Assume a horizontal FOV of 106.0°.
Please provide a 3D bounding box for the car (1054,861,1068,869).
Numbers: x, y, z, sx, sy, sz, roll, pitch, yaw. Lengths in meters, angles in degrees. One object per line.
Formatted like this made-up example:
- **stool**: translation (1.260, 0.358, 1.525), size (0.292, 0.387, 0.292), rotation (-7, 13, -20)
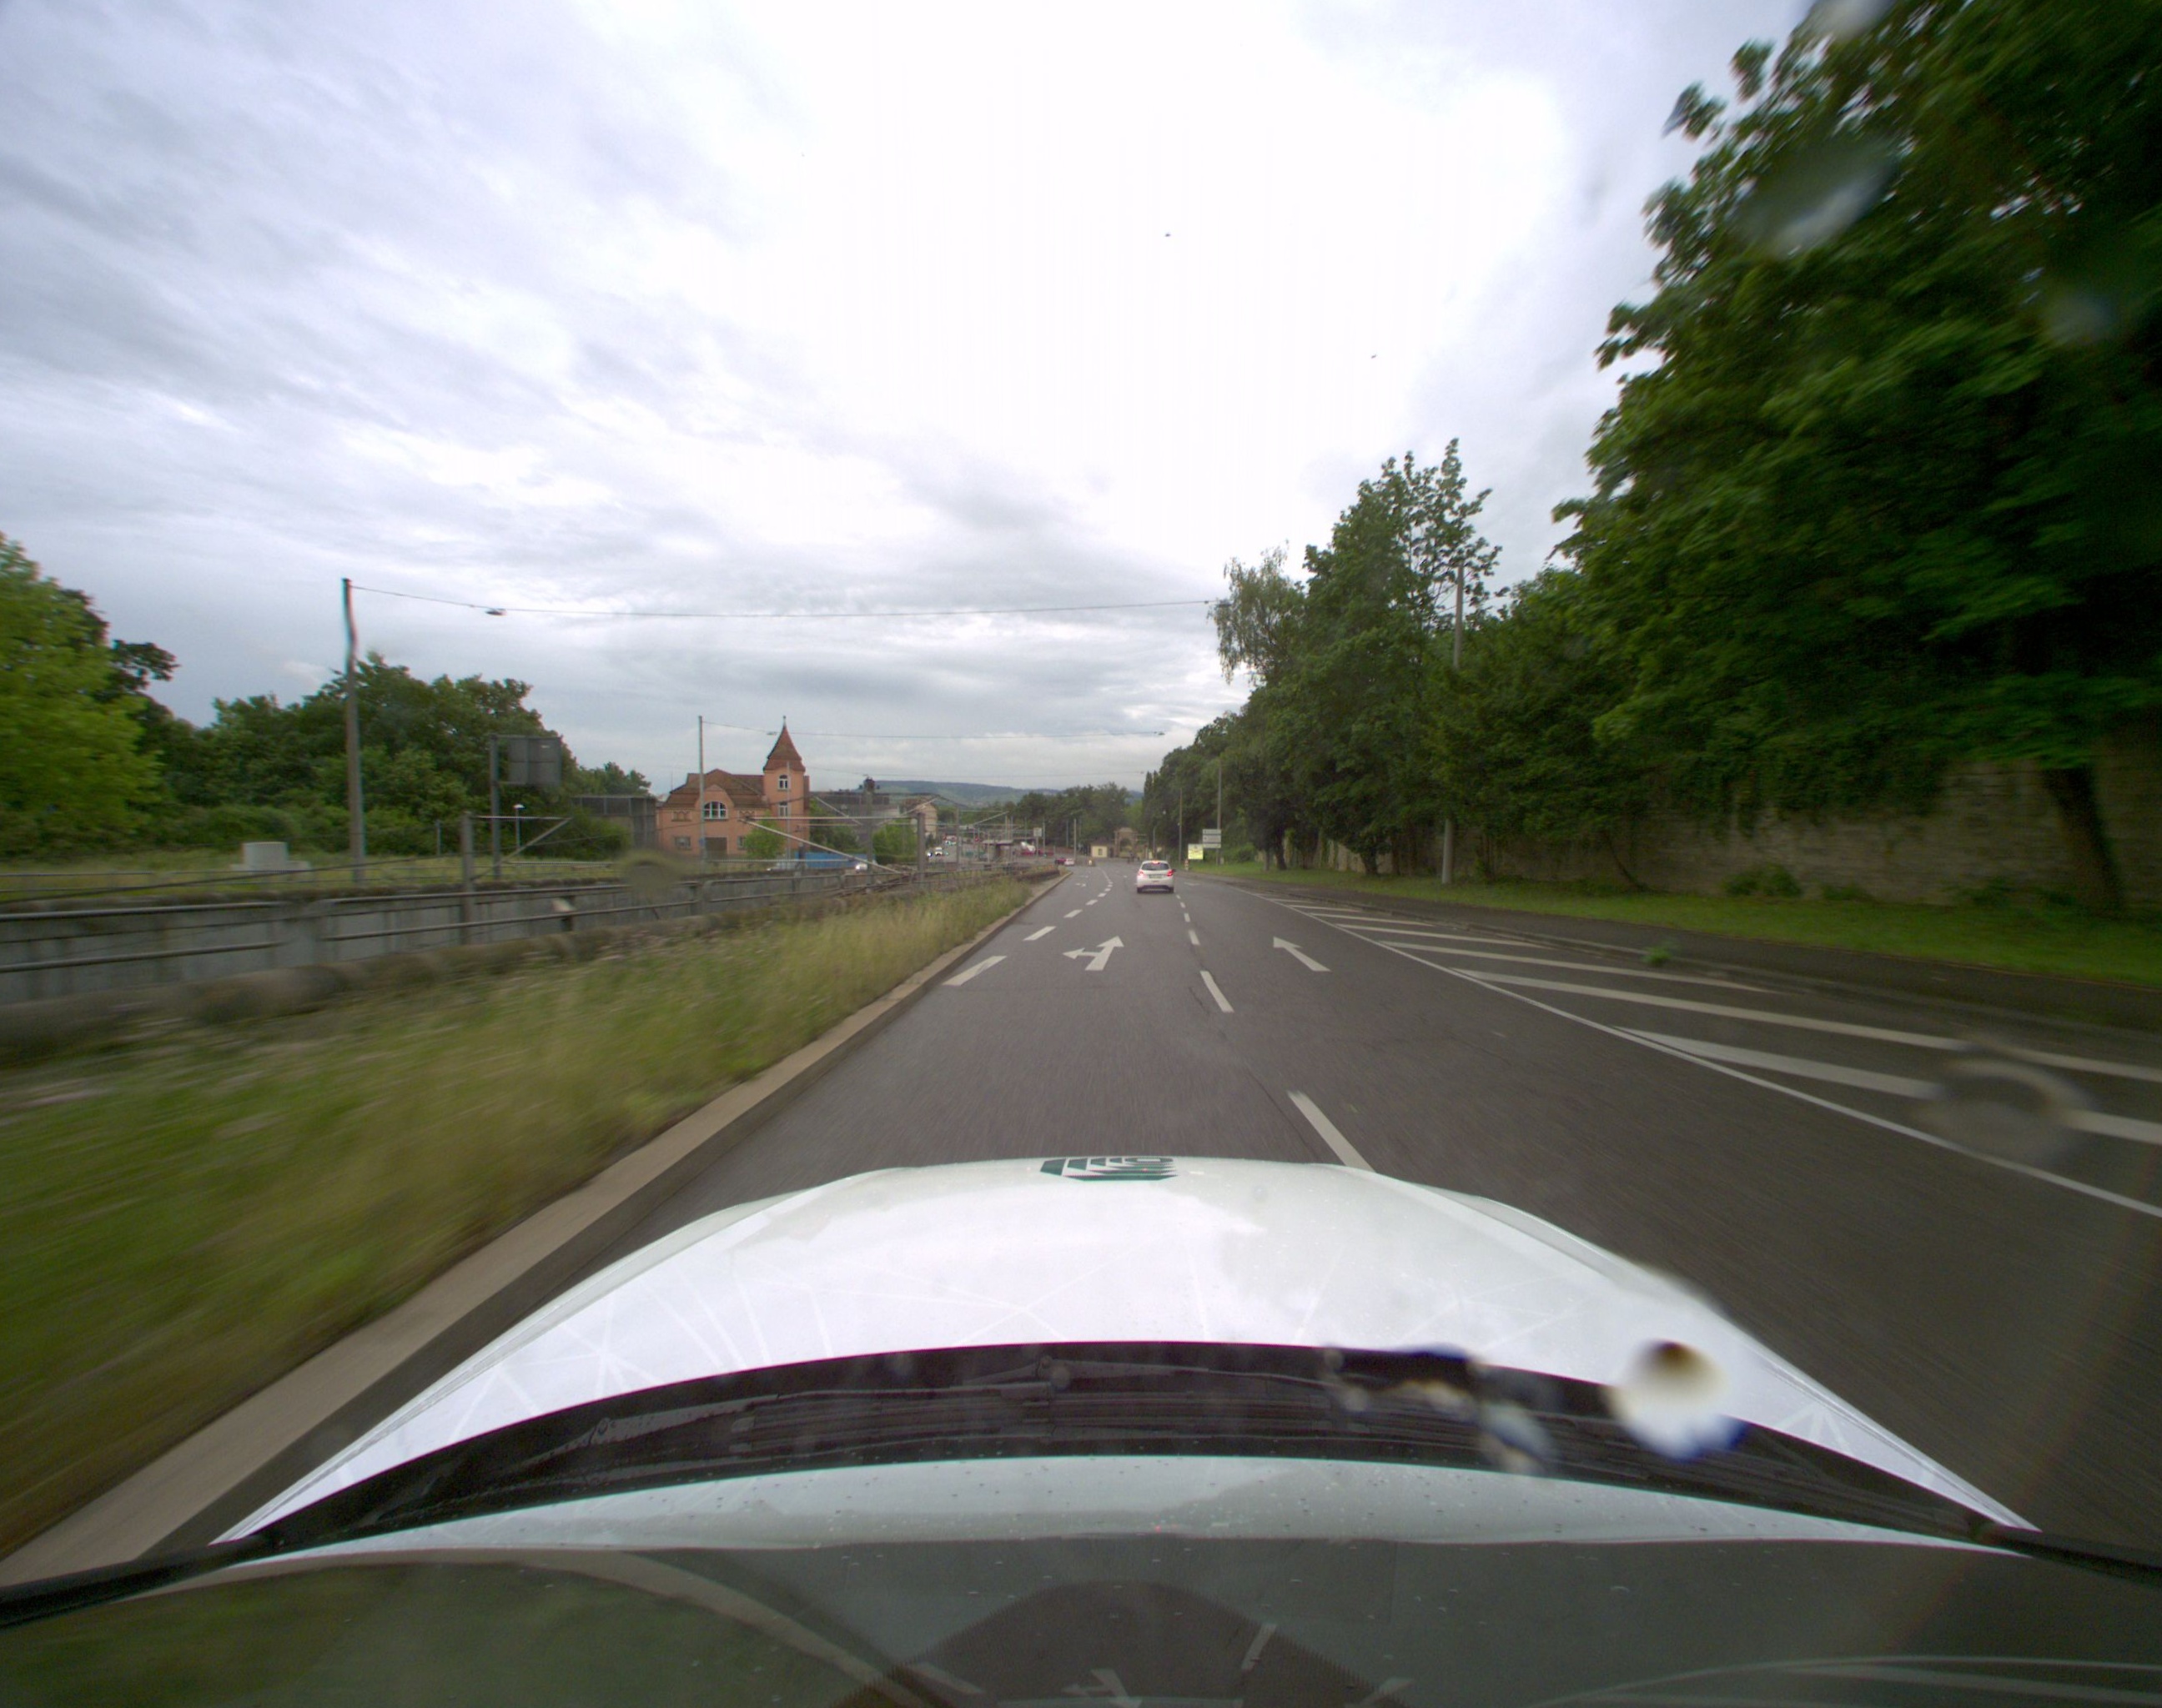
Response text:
- **car**: translation (-4.374, 2.420, 178.171), size (2.000, 1.706, 3.973), rotation (0, 0, -20)

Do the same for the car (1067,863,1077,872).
- **car**: translation (-1.928, 2.760, 168.010), size (1.815, 1.606, 4.002), rotation (-2, 0, 2)

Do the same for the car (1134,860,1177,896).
- **car**: translation (3.529, 1.080, 37.952), size (1.859, 1.511, 3.907), rotation (-1, 0, 6)

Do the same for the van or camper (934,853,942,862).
- **van or camper**: translation (-41.613, 1.004, 236.315), size (1.992, 2.345, 3.990), rotation (-1, -1, -7)

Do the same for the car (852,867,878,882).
- **car**: translation (-21.670, 2.052, 81.875), size (1.549, 1.292, 3.560), rotation (1, 0, 2)
